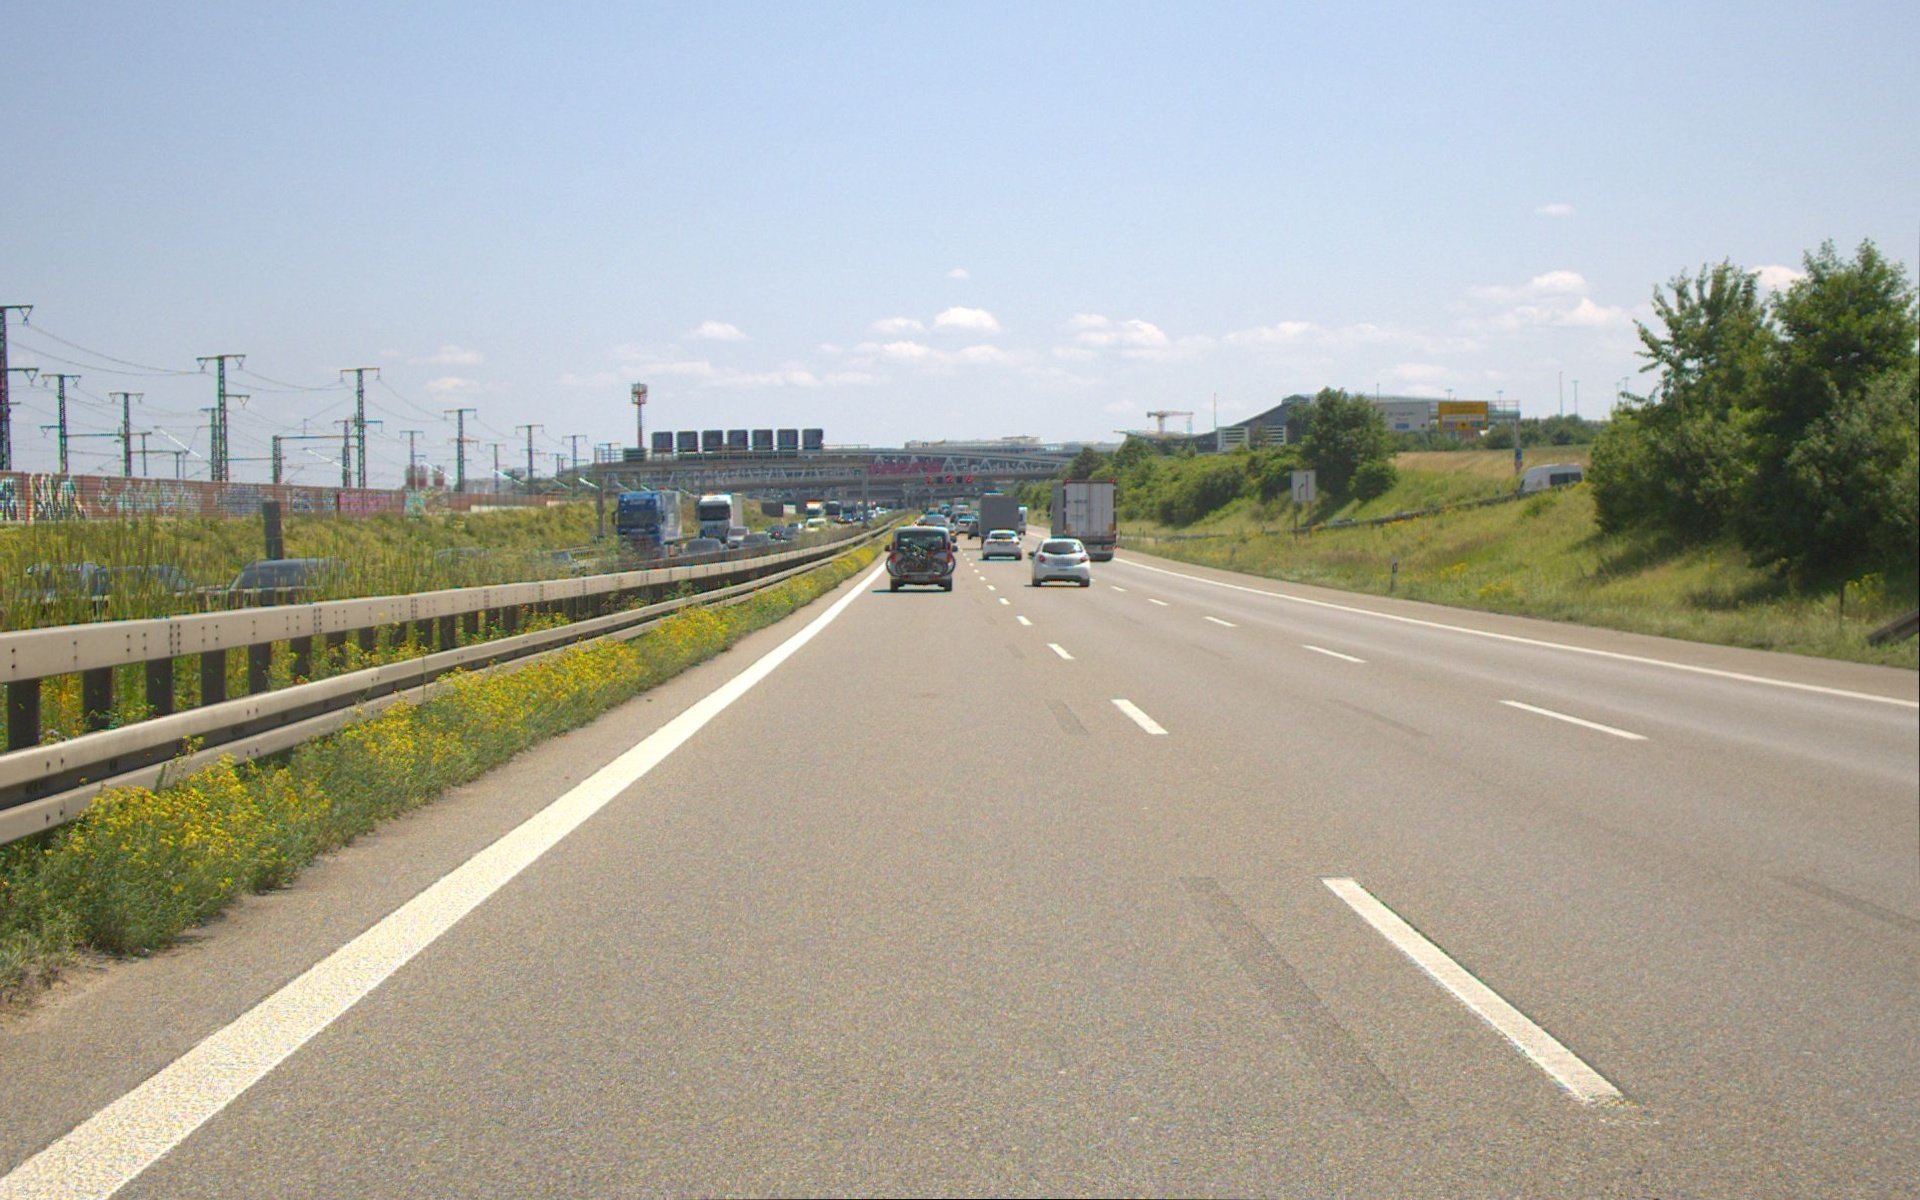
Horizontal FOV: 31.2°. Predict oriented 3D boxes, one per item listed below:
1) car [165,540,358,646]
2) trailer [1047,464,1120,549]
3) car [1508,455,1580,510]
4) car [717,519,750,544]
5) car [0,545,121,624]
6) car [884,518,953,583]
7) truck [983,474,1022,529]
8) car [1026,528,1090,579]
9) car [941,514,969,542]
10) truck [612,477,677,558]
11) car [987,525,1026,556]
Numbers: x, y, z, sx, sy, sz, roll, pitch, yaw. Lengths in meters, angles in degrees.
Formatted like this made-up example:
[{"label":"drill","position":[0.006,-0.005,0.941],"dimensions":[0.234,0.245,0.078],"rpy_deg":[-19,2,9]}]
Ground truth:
[{"label":"car","position":[-9.737,-0.132,48.228],"dimensions":[1.867,1.390,4.271],"rpy_deg":[0,1,0]},{"label":"trailer","position":[6.134,-4.676,171.716],"dimensions":[3.177,4.045,9.440],"rpy_deg":[-1,2,0]},{"label":"car","position":[27.148,-5.477,160.010],"dimensions":[2.274,2.519,5.400],"rpy_deg":[0,2,-1]},{"label":"car","position":[-15.267,-4.620,232.258],"dimensions":[1.993,1.642,4.000],"rpy_deg":[0,1,0]},{"label":"car","position":[-20.634,-0.374,78.271],"dimensions":[1.993,1.720,4.513],"rpy_deg":[0,1,0]},{"label":"car","position":[-1.156,-1.399,96.737],"dimensions":[1.881,1.769,4.000],"rpy_deg":[-1,1,0]},{"label":"truck","position":[2.621,-6.173,215.096],"dimensions":[2.355,3.404,6.058],"rpy_deg":[0,2,0]},{"label":"car","position":[3.024,-1.439,105.290],"dimensions":[1.881,1.521,4.000],"rpy_deg":[0,1,2]},{"label":"car","position":[-0.398,-5.255,250.112],"dimensions":[1.993,2.007,4.000],"rpy_deg":[0,1,-1]},{"label":"truck","position":[-17.774,-4.673,193.944],"dimensions":[2.888,4.392,7.504],"rpy_deg":[-1,2,0]},{"label":"car","position":[2.325,-2.950,171.810],"dimensions":[1.881,1.521,4.000],"rpy_deg":[0,1,1]}]
